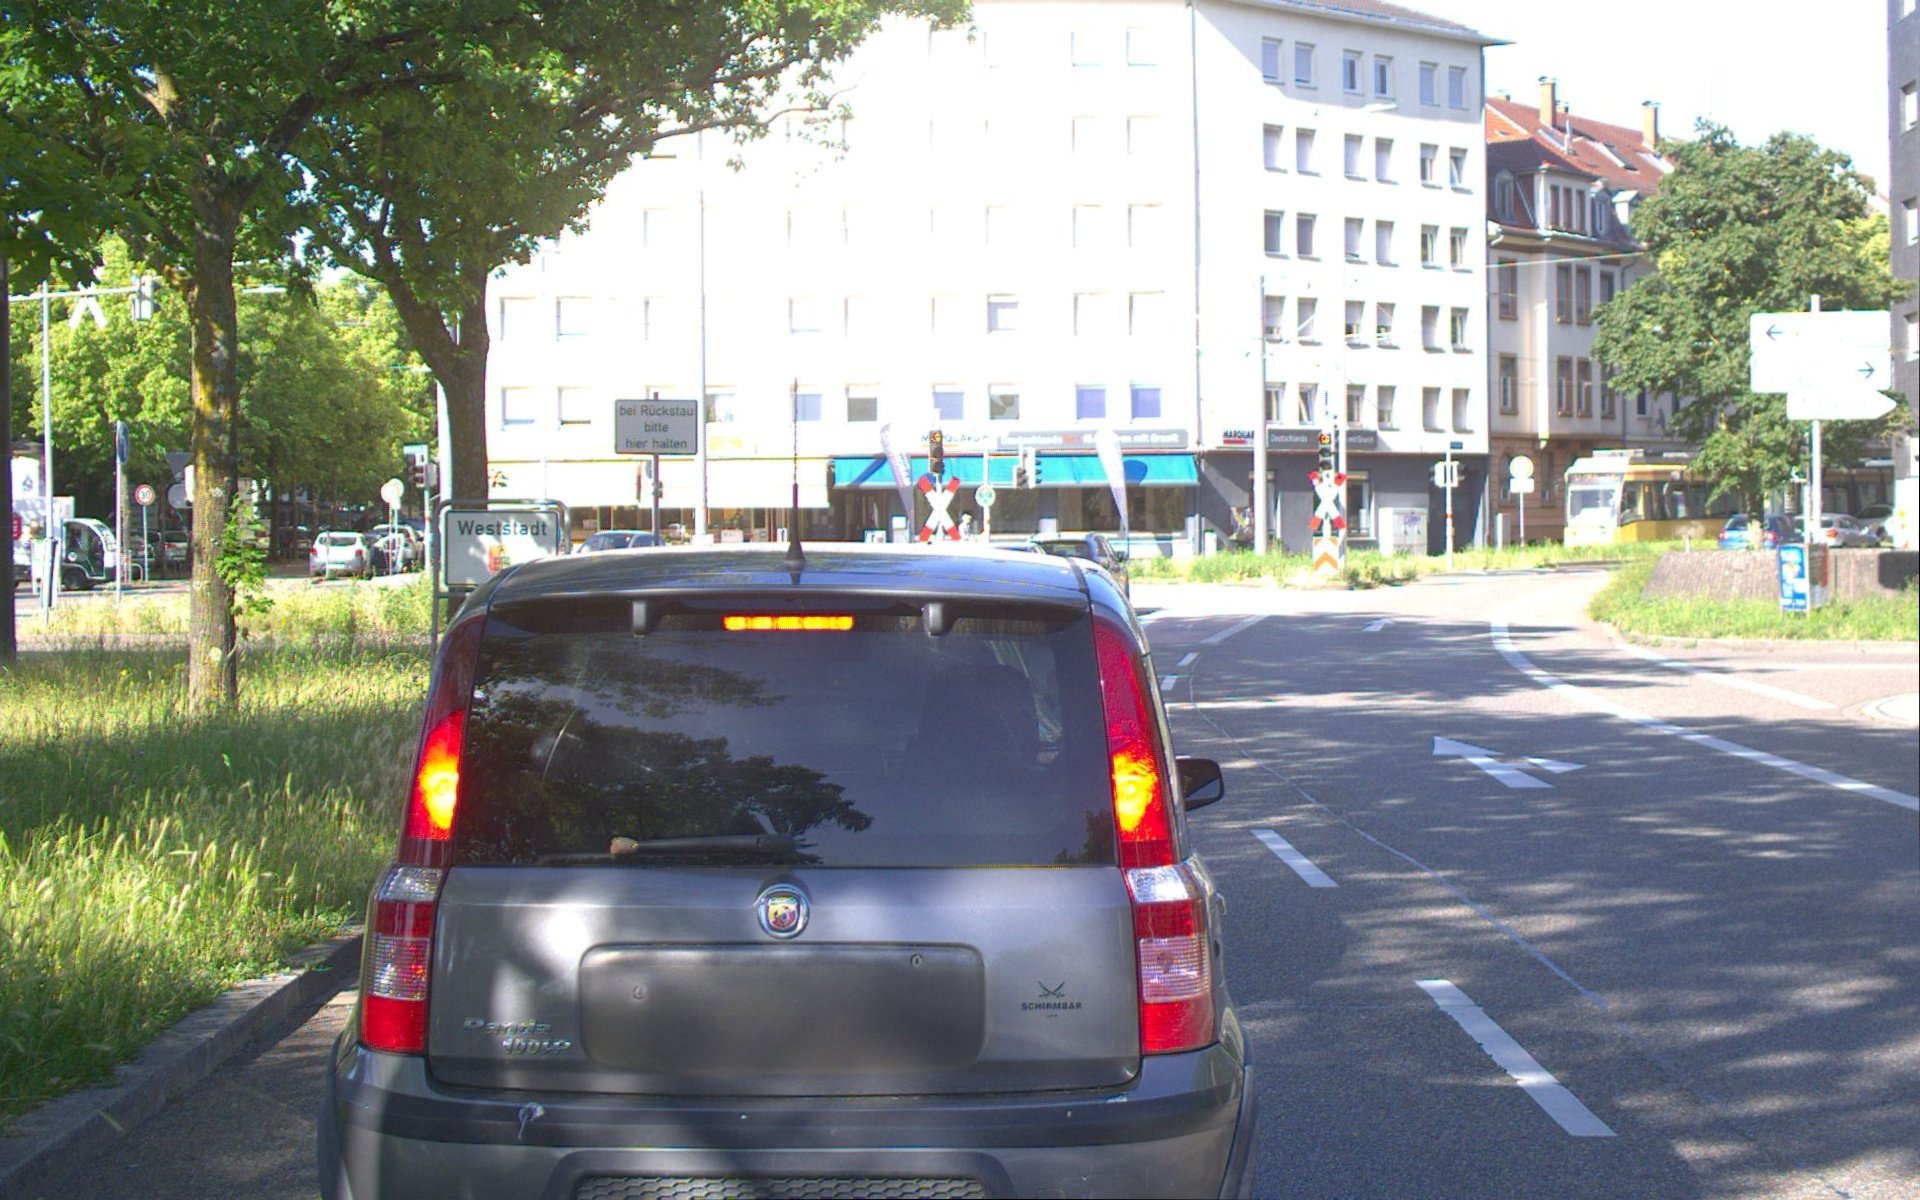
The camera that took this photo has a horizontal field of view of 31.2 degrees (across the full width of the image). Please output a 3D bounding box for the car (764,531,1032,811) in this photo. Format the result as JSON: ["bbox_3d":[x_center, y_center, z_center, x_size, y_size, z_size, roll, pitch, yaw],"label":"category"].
[{"bbox_3d":[-0.360,0.355,20.687,1.463,1.503,3.505,0,2,-1],"label":"car"}]

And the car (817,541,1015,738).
[{"bbox_3d":[-0.346,0.267,27.293,1.463,1.420,3.381,0,2,-1],"label":"car"}]

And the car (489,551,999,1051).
[{"bbox_3d":[-0.642,0.558,11.648,1.463,1.396,3.393,0,1,-1],"label":"car"}]

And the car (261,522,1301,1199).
[{"bbox_3d":[-0.300,0.596,7.426,1.628,1.503,4.000,-1,1,-1],"label":"car"}]

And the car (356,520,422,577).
[{"bbox_3d":[-20.513,-1.862,123.591,1.993,2.007,4.001,-1,1,-4],"label":"car"}]

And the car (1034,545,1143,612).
[{"bbox_3d":[2.171,-0.368,57.677,1.143,1.060,2.719,0,1,17],"label":"car"}]

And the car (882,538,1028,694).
[{"bbox_3d":[-0.060,0.122,33.871,1.356,1.444,3.266,-1,1,-1],"label":"car"}]

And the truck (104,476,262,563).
[{"bbox_3d":[-28.878,-2.986,127.782,5.485,3.158,2.340,0,1,28],"label":"truck"}]

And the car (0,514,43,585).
[{"bbox_3d":[-28.541,-1.426,98.263,4.176,2.007,1.932,-1,1,-2],"label":"car"}]

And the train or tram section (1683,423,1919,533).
[{"bbox_3d":[32.417,-4.480,128.041,3.302,3.757,20.770,0,2,34],"label":"train or tram section"}]

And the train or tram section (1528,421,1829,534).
[{"bbox_3d":[24.595,-4.071,116.136,3.302,3.501,19.349,0,2,33],"label":"train or tram section"}]

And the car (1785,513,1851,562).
[{"bbox_3d":[23.451,-1.714,93.889,1.528,1.310,3.285,0,1,18],"label":"car"}]

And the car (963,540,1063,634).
[{"bbox_3d":[0.749,-0.211,49.603,1.356,1.277,2.876,0,1,-1],"label":"car"}]

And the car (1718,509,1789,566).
[{"bbox_3d":[20.882,-1.656,90.397,1.683,1.444,3.569,0,1,15],"label":"car"}]
